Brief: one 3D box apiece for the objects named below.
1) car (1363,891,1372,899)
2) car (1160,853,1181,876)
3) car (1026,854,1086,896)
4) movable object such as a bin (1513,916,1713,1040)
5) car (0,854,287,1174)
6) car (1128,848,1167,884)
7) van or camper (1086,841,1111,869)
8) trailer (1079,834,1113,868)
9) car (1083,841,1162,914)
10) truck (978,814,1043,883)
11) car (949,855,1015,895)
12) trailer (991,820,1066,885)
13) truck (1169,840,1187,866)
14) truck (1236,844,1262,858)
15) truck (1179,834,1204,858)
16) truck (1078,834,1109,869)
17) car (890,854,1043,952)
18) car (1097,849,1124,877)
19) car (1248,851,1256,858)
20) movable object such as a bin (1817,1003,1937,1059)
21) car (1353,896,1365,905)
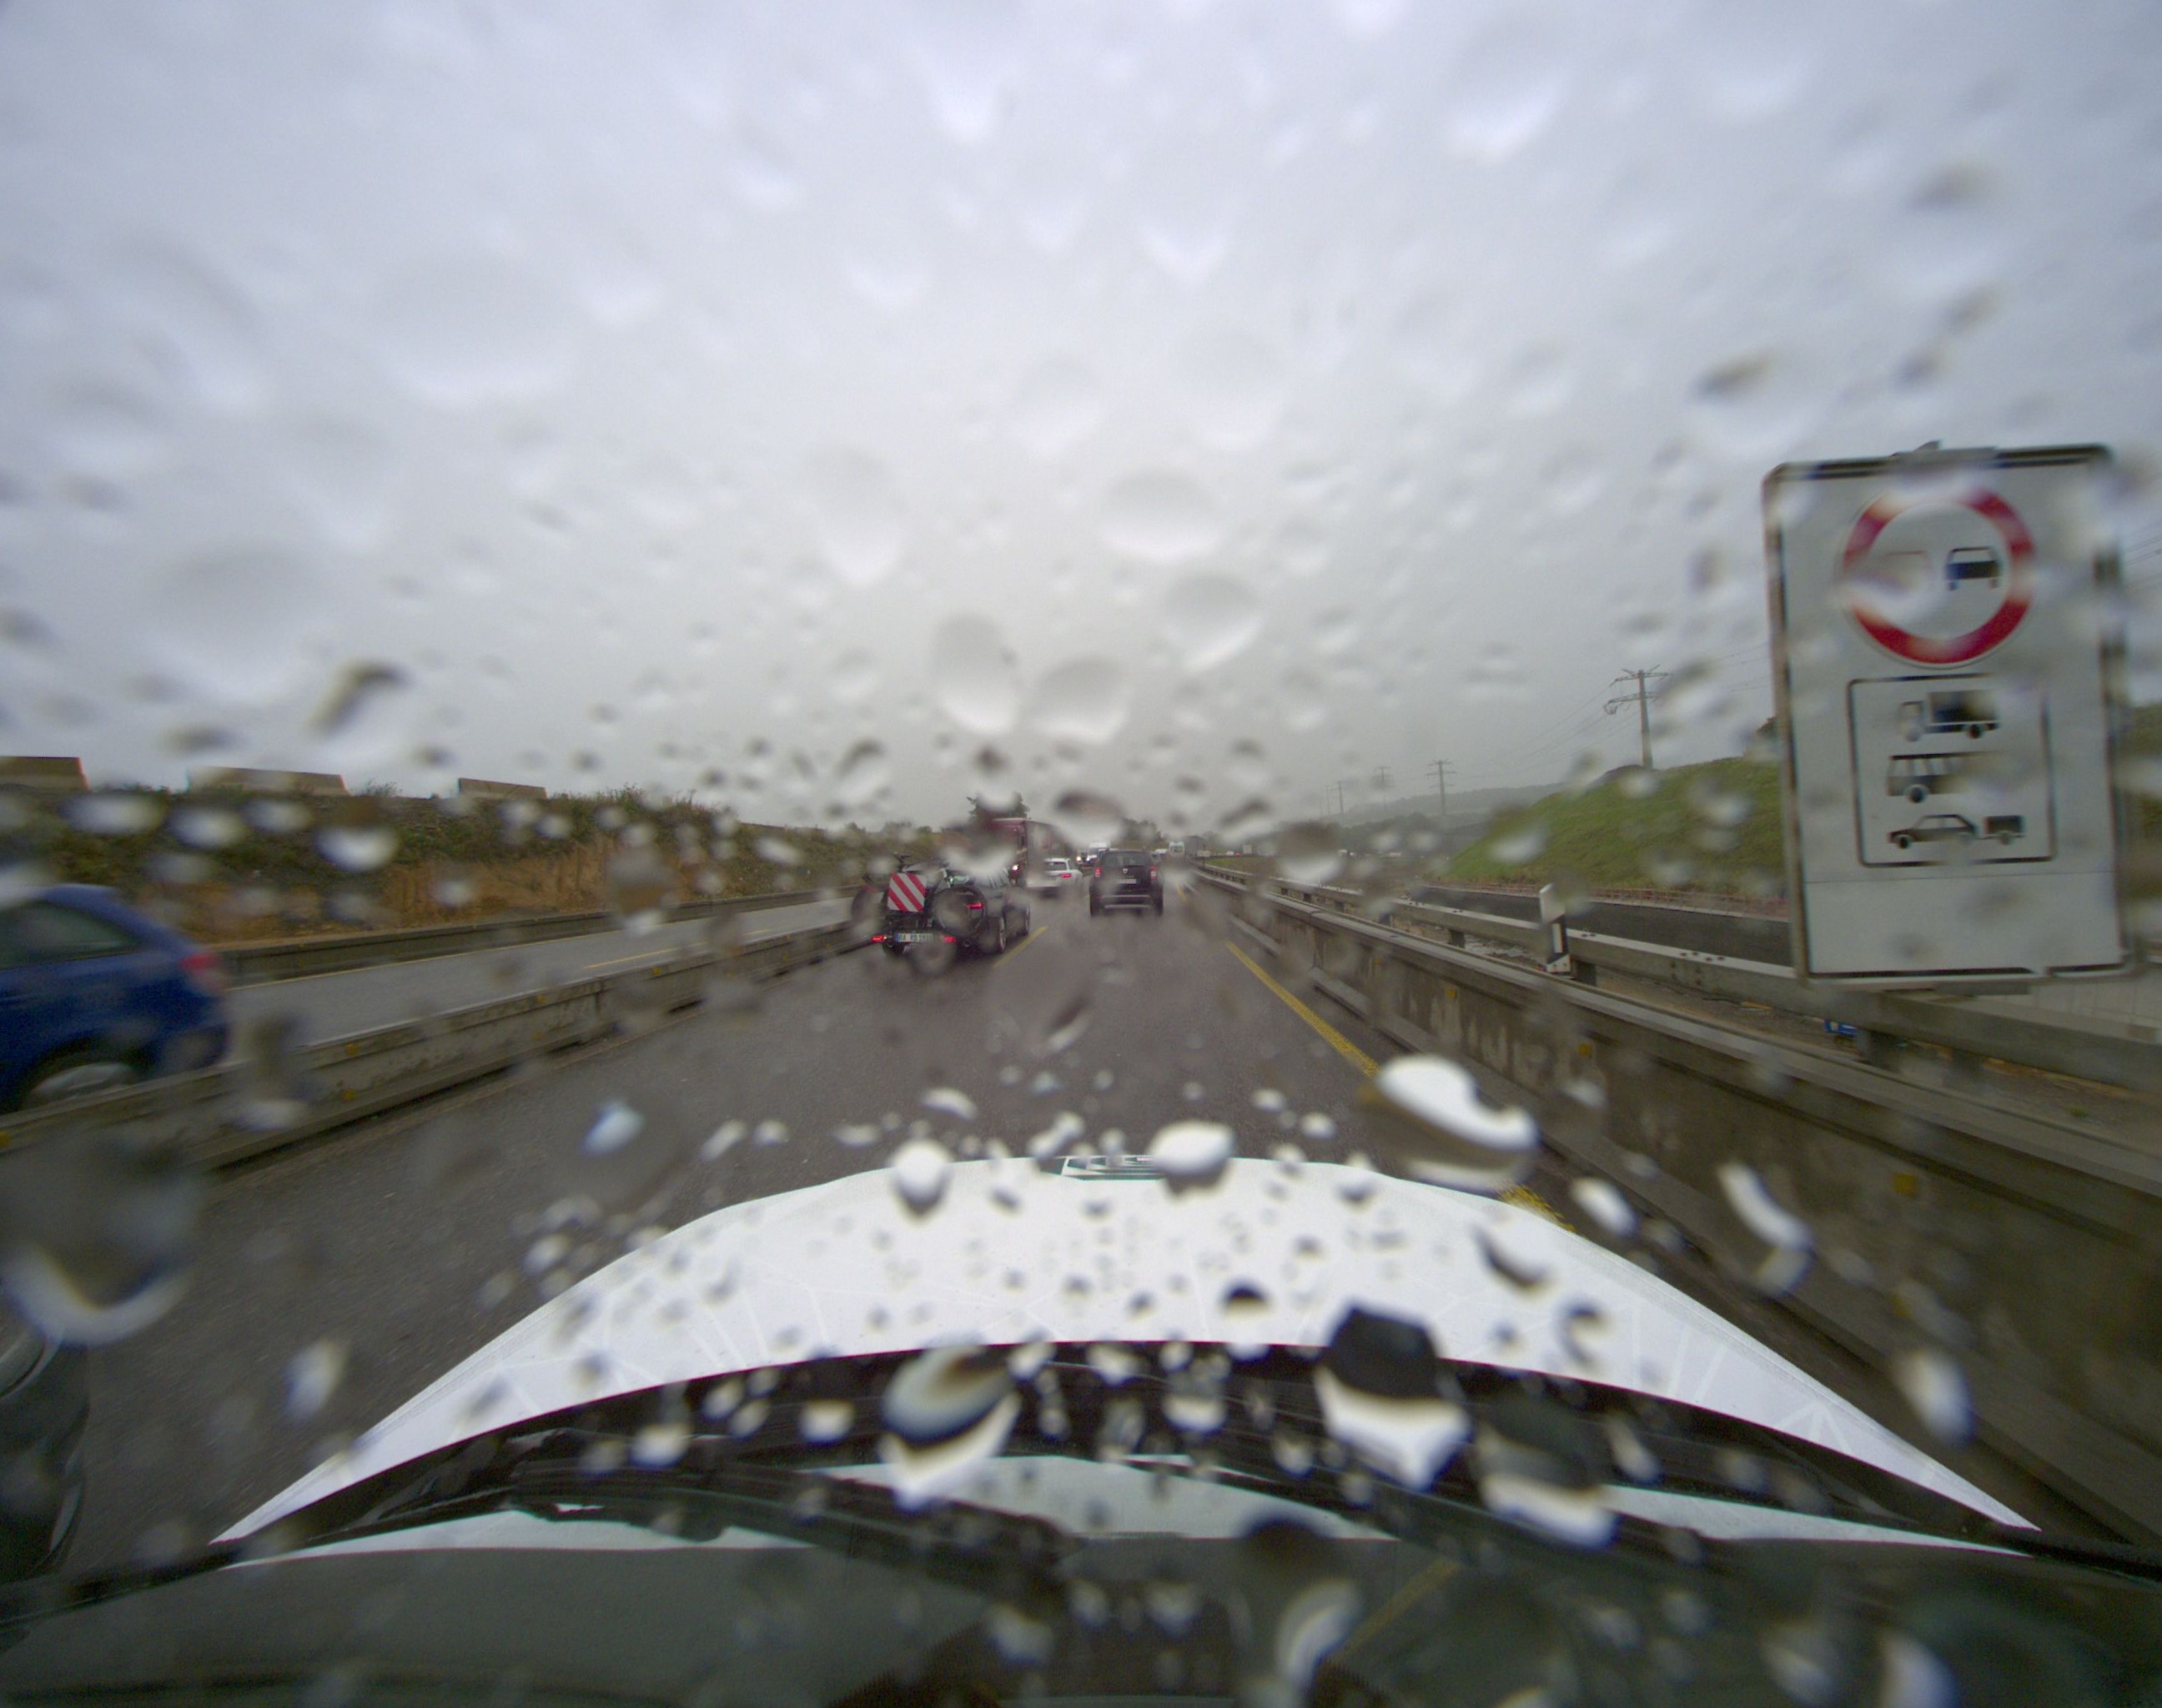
[{"bbox_3d":[76.683,10.924,217.806,1.978,1.816,4.017,-1,-1,16],"label":"car"},{"bbox_3d":[6.824,0.756,61.824,1.522,1.640,4.021,-1,0,7],"label":"car"},{"bbox_3d":[-0.865,0.733,30.733,1.860,1.460,4.552,-1,0,3],"label":"car"},{"bbox_3d":[29.897,6.660,46.962,4.866,5.671,12.114,0,-3,8],"label":"movable object such as a bin"},{"bbox_3d":[-5.923,0.757,3.242,1.642,1.502,3.832,-1,0,3],"label":"car"},{"bbox_3d":[3.383,0.600,41.411,1.859,1.708,4.005,-1,0,4],"label":"car"},{"bbox_3d":[1.761,0.107,80.637,2.269,2.614,5.832,-1,0,2],"label":"van or camper"},{"bbox_3d":[2.034,-0.303,103.143,3.239,3.964,11.554,-2,0,6],"label":"trailer"},{"bbox_3d":[0.984,0.563,20.872,1.798,1.646,3.776,-2,-1,0],"label":"car"},{"bbox_3d":[-4.838,-0.403,57.268,2.964,4.408,6.944,-3,0,6],"label":"truck"},{"bbox_3d":[-3.928,0.803,33.152,1.736,1.502,4.640,-1,0,5],"label":"car"},{"bbox_3d":[-3.862,-0.160,65.448,2.979,4.420,15.733,-3,0,7],"label":"trailer"},{"bbox_3d":[12.671,-0.114,106.079,2.137,3.166,6.473,-1,0,7],"label":"truck"},{"bbox_3d":[50.094,-0.911,242.264,4.677,4.150,15.765,-1,0,21],"label":"truck"},{"bbox_3d":[18.010,-1.203,131.799,3.178,3.761,8.539,-1,0,13],"label":"truck"},{"bbox_3d":[1.541,-0.284,98.171,3.216,3.955,5.889,-2,-1,5],"label":"truck"},{"bbox_3d":[-1.869,0.772,14.478,1.820,1.476,3.782,-2,-1,5],"label":"car"},{"bbox_3d":[2.061,0.588,56.465,1.652,1.880,4.025,-1,0,5],"label":"car"},{"bbox_3d":[47.093,0.131,223.637,1.761,1.916,4.018,-1,0,17],"label":"car"},{"bbox_3d":[37.343,8.273,38.336,2.506,1.911,3.258,1,-1,2],"label":"movable object such as a bin"},{"bbox_3d":[68.594,11.399,200.909,2.348,2.013,4.015,-1,0,14],"label":"car"}]
